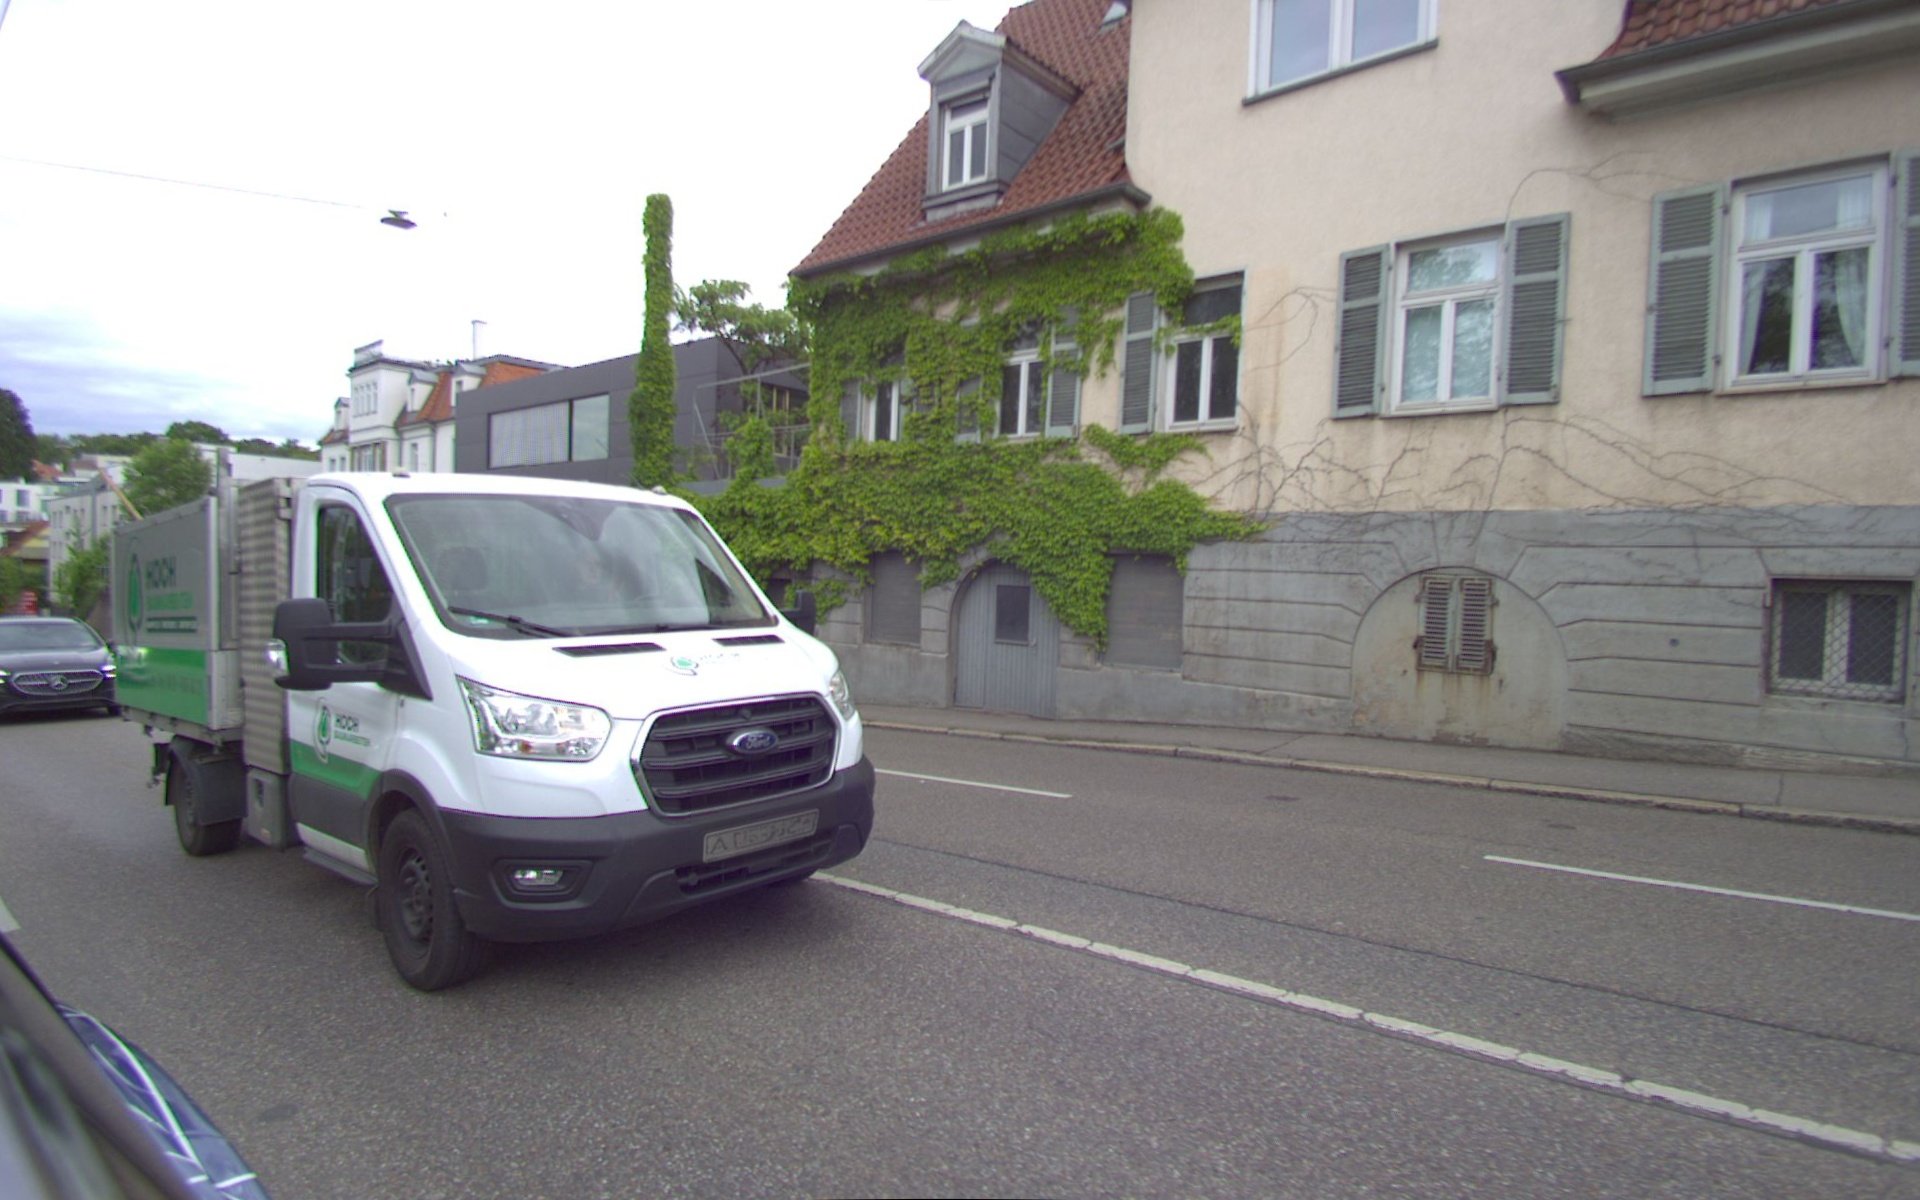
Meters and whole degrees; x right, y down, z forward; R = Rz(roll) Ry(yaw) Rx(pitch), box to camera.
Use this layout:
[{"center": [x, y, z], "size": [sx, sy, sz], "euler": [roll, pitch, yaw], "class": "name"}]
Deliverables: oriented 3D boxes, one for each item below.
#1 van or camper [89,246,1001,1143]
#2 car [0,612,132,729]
[{"center": [-2.823, 0.207, 5.824], "size": [5.960, 2.681, 2.320], "euler": [1, 2, 40], "class": "van or camper"}, {"center": [-14.157, 0.984, 15.307], "size": [4.333, 1.541, 1.854], "euler": [-1, 0, 41], "class": "car"}]
